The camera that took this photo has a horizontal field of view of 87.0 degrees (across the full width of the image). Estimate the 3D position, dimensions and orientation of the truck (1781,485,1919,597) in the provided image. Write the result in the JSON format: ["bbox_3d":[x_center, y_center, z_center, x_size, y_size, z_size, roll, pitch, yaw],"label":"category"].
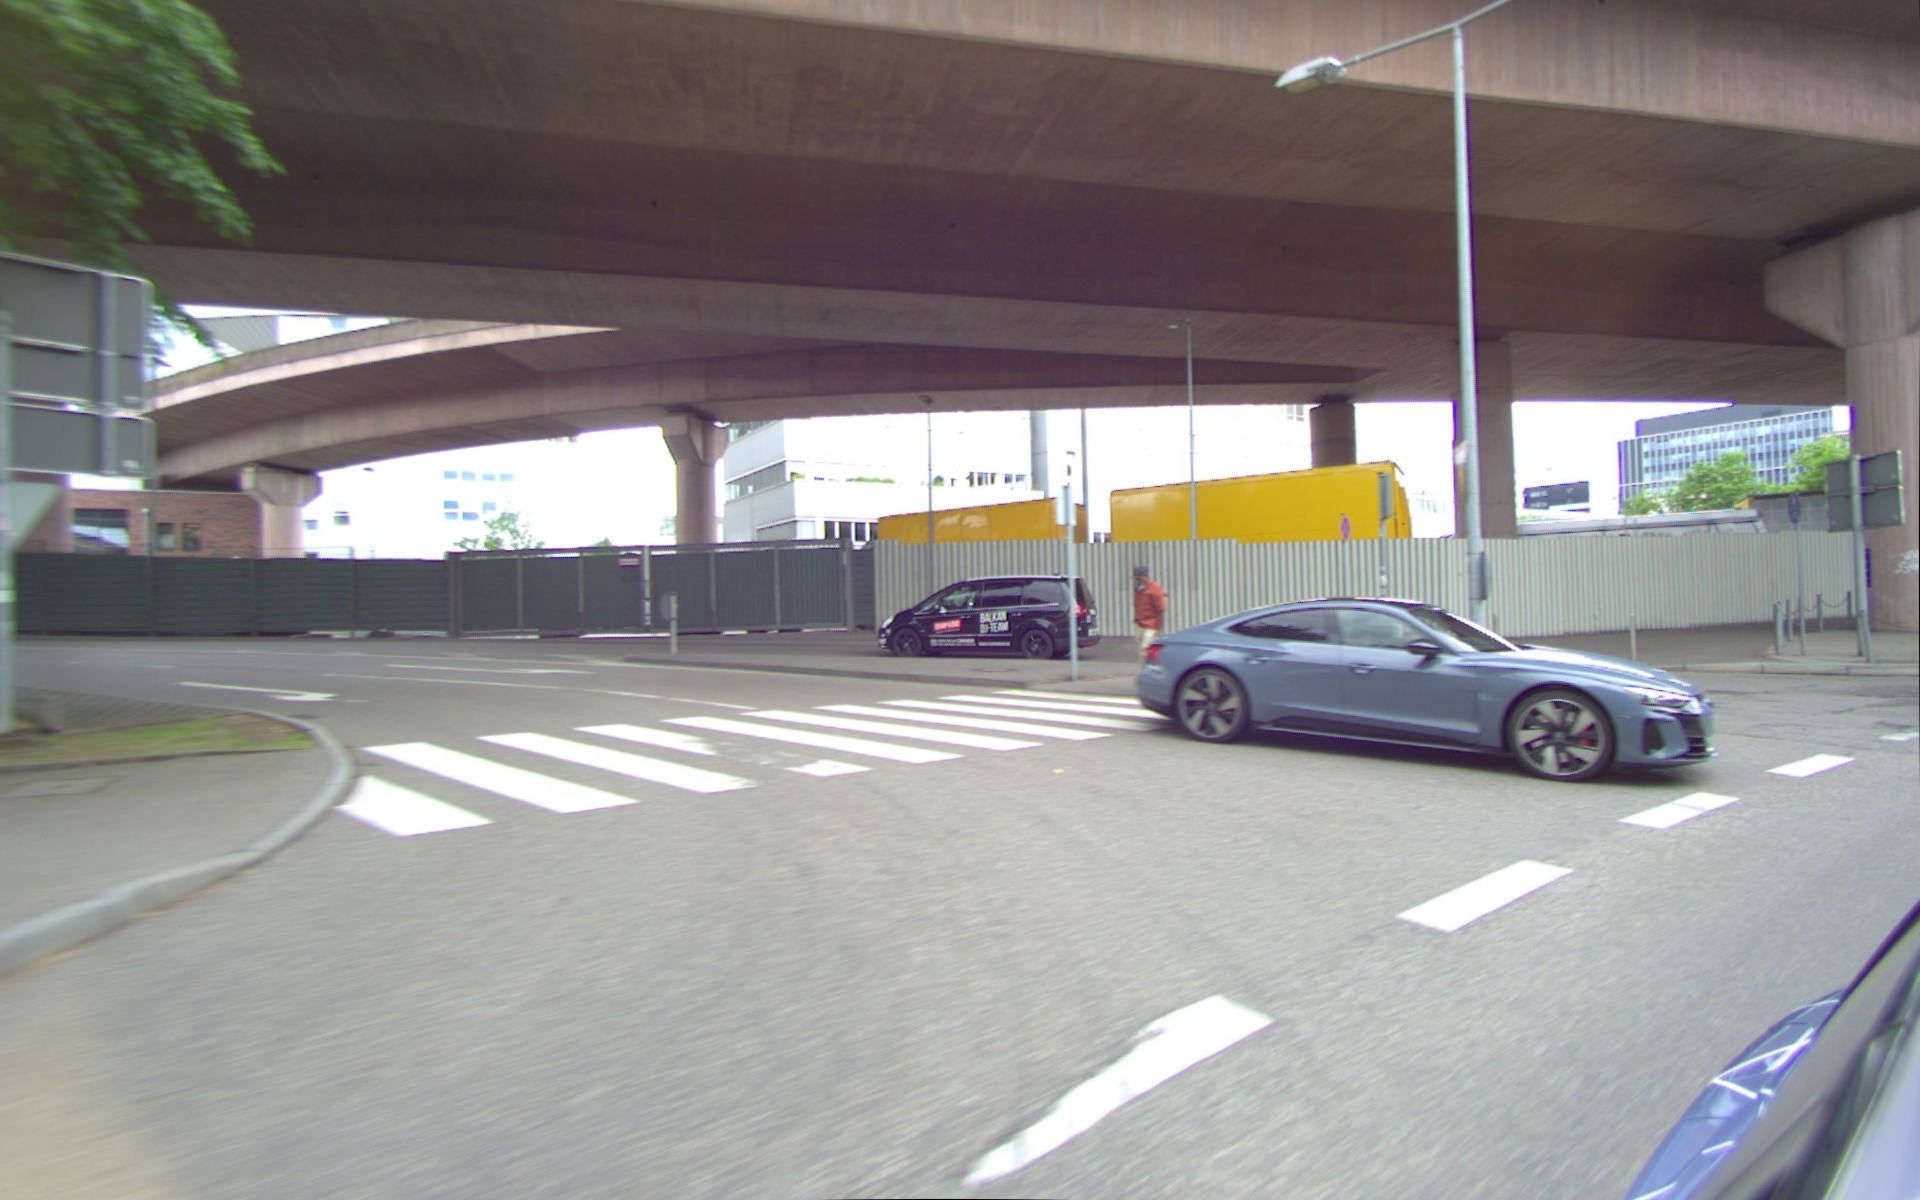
[{"bbox_3d":[38.539,-2.325,39.253,9.980,4.235,2.868,-1,1,30],"label":"truck"}]

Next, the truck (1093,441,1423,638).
[{"bbox_3d":[8.531,-1.489,29.447,8.642,4.980,3.114,-2,-1,30],"label":"truck"}]

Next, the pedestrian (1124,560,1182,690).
[{"bbox_3d":[2.573,0.320,13.532,0.546,1.697,0.539,0,1,-24],"label":"pedestrian"}]

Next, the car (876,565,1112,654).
[{"bbox_3d":[0.713,0.188,21.039,4.505,1.700,1.986,-1,1,22],"label":"car"}]

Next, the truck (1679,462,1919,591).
[{"bbox_3d":[33.520,-2.705,38.491,9.637,4.498,3.117,-1,1,29],"label":"truck"}]

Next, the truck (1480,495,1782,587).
[{"bbox_3d":[23.535,-2.048,36.192,8.647,2.979,3.115,1,4,31],"label":"truck"}]

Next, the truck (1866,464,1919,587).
[{"bbox_3d":[43.345,-3.129,40.738,9.637,4.985,3.117,-1,1,29],"label":"truck"}]

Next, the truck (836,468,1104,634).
[{"bbox_3d":[0.232,-1.450,34.376,8.642,4.966,3.114,-2,-1,30],"label":"truck"}]

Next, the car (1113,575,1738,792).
[{"bbox_3d":[4.125,0.592,9.472,4.902,1.520,2.145,-1,1,36],"label":"car"}]
